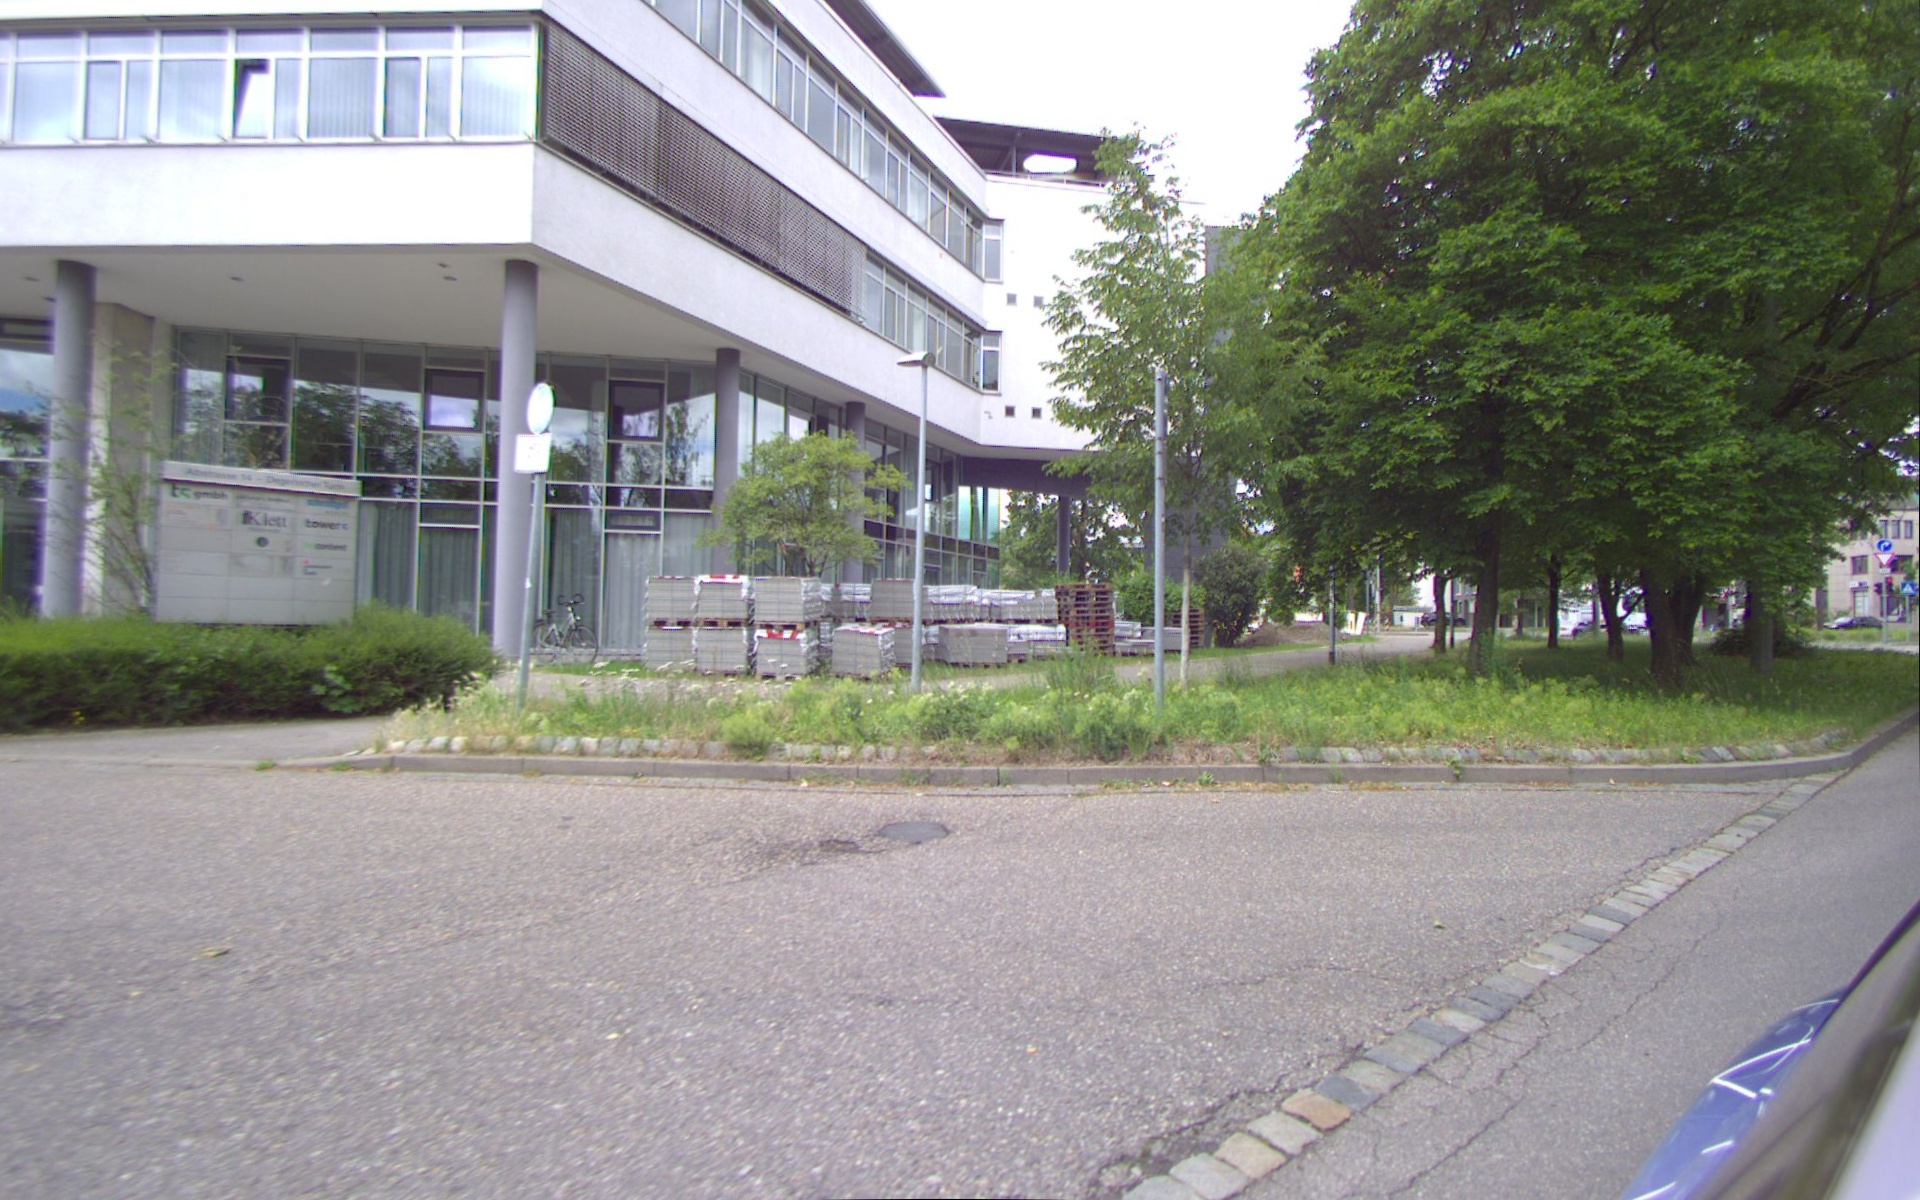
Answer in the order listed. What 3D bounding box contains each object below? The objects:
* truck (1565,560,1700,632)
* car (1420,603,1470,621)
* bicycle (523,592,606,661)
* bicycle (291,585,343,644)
[{"bbox_3d":[32.313,-0.190,48.972,2.392,3.235,6.462,0,0,2],"label":"truck"},{"bbox_3d":[49.149,1.250,102.583,4.050,1.622,1.997,1,-3,3],"label":"car"},{"bbox_3d":[-6.988,0.470,17.857,1.727,1.162,0.485,-1,-1,35],"label":"bicycle"},{"bbox_3d":[-12.418,0.282,19.577,0.384,1.086,1.403,-1,-1,-12],"label":"bicycle"}]
